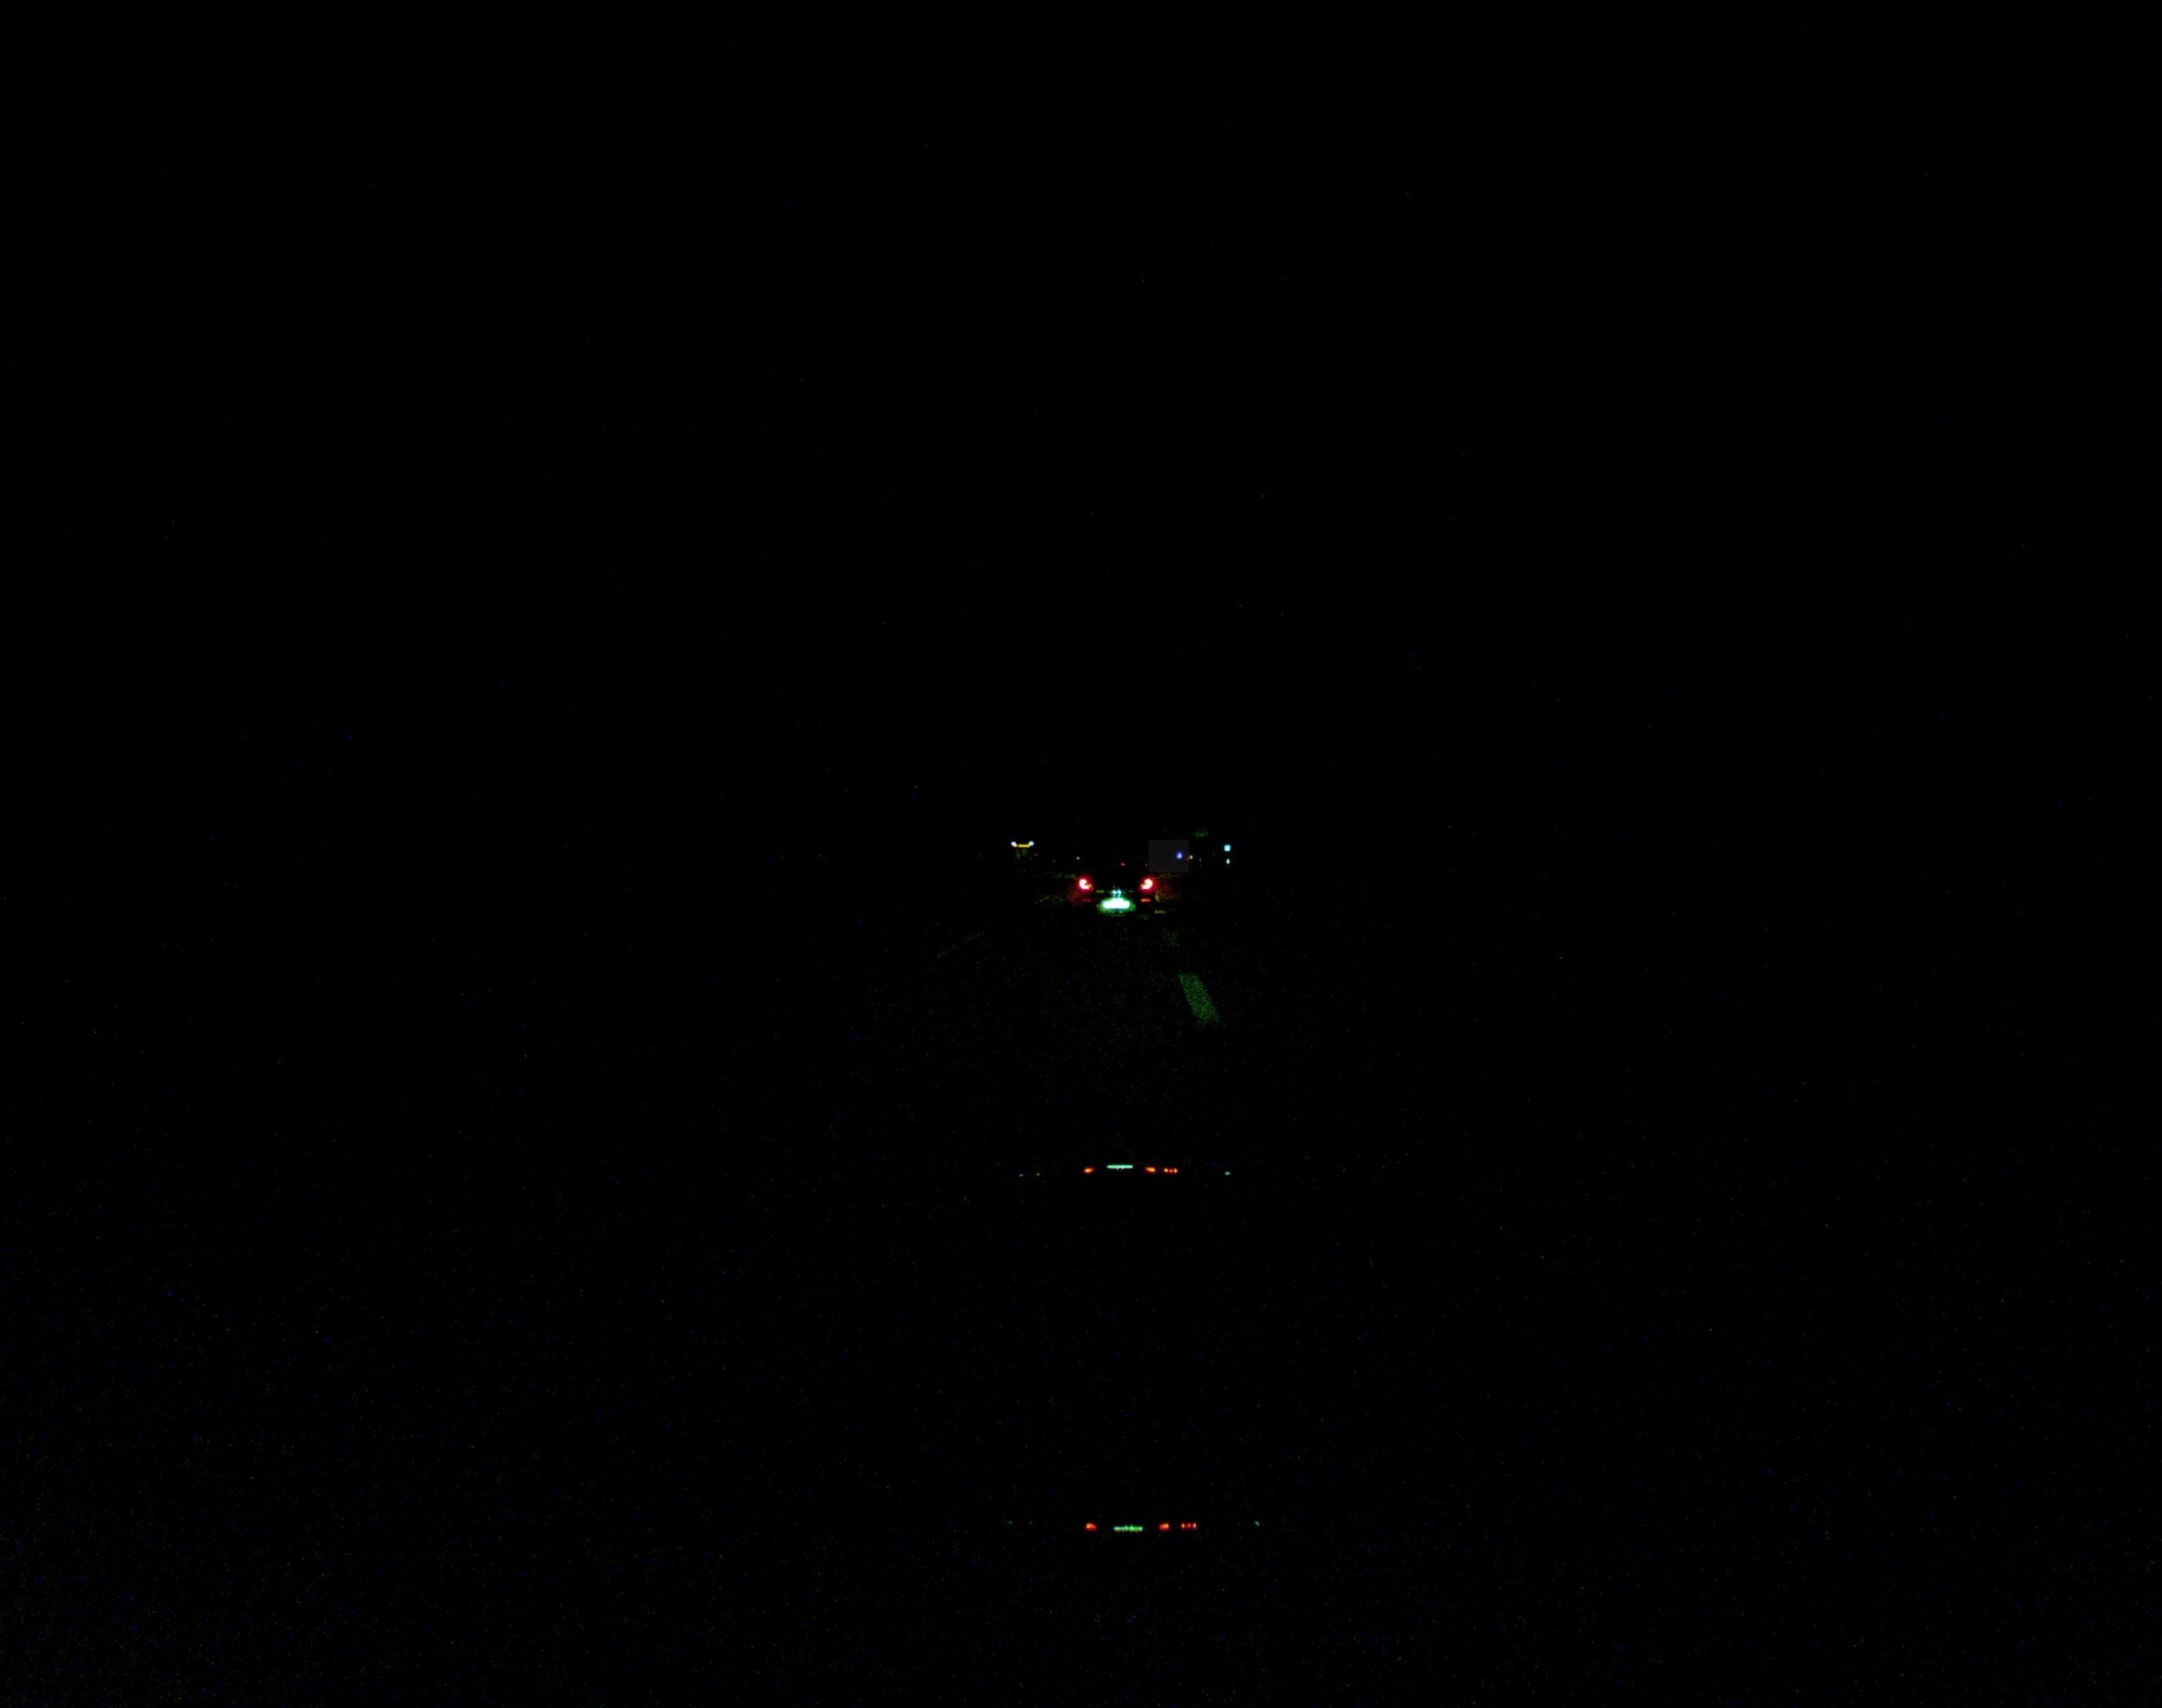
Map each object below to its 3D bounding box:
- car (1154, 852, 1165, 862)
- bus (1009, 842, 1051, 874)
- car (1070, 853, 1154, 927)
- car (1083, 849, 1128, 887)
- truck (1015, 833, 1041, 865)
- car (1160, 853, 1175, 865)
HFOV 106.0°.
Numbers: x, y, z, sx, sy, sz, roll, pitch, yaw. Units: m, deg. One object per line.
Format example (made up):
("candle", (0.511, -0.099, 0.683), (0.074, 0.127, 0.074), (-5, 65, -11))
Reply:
("car", (14.974, 0.552, 155.437), (1.943, 1.538, 4.245), (-5, -2, 4))
("bus", (-5.575, 0.350, 92.146), (2.910, 3.387, 12.324), (-1, 1, 5))
("car", (0.761, 0.725, 18.338), (1.684, 1.478, 4.004), (-1, 0, 4))
("car", (1.220, 0.601, 37.966), (1.932, 1.608, 4.648), (-1, 0, 3))
("truck", (-7.336, -0.677, 112.876), (2.663, 4.177, 5.877), (-1, 0, 5))
("car", (11.994, 0.663, 113.326), (1.727, 1.618, 3.800), (-1, 0, 2))
